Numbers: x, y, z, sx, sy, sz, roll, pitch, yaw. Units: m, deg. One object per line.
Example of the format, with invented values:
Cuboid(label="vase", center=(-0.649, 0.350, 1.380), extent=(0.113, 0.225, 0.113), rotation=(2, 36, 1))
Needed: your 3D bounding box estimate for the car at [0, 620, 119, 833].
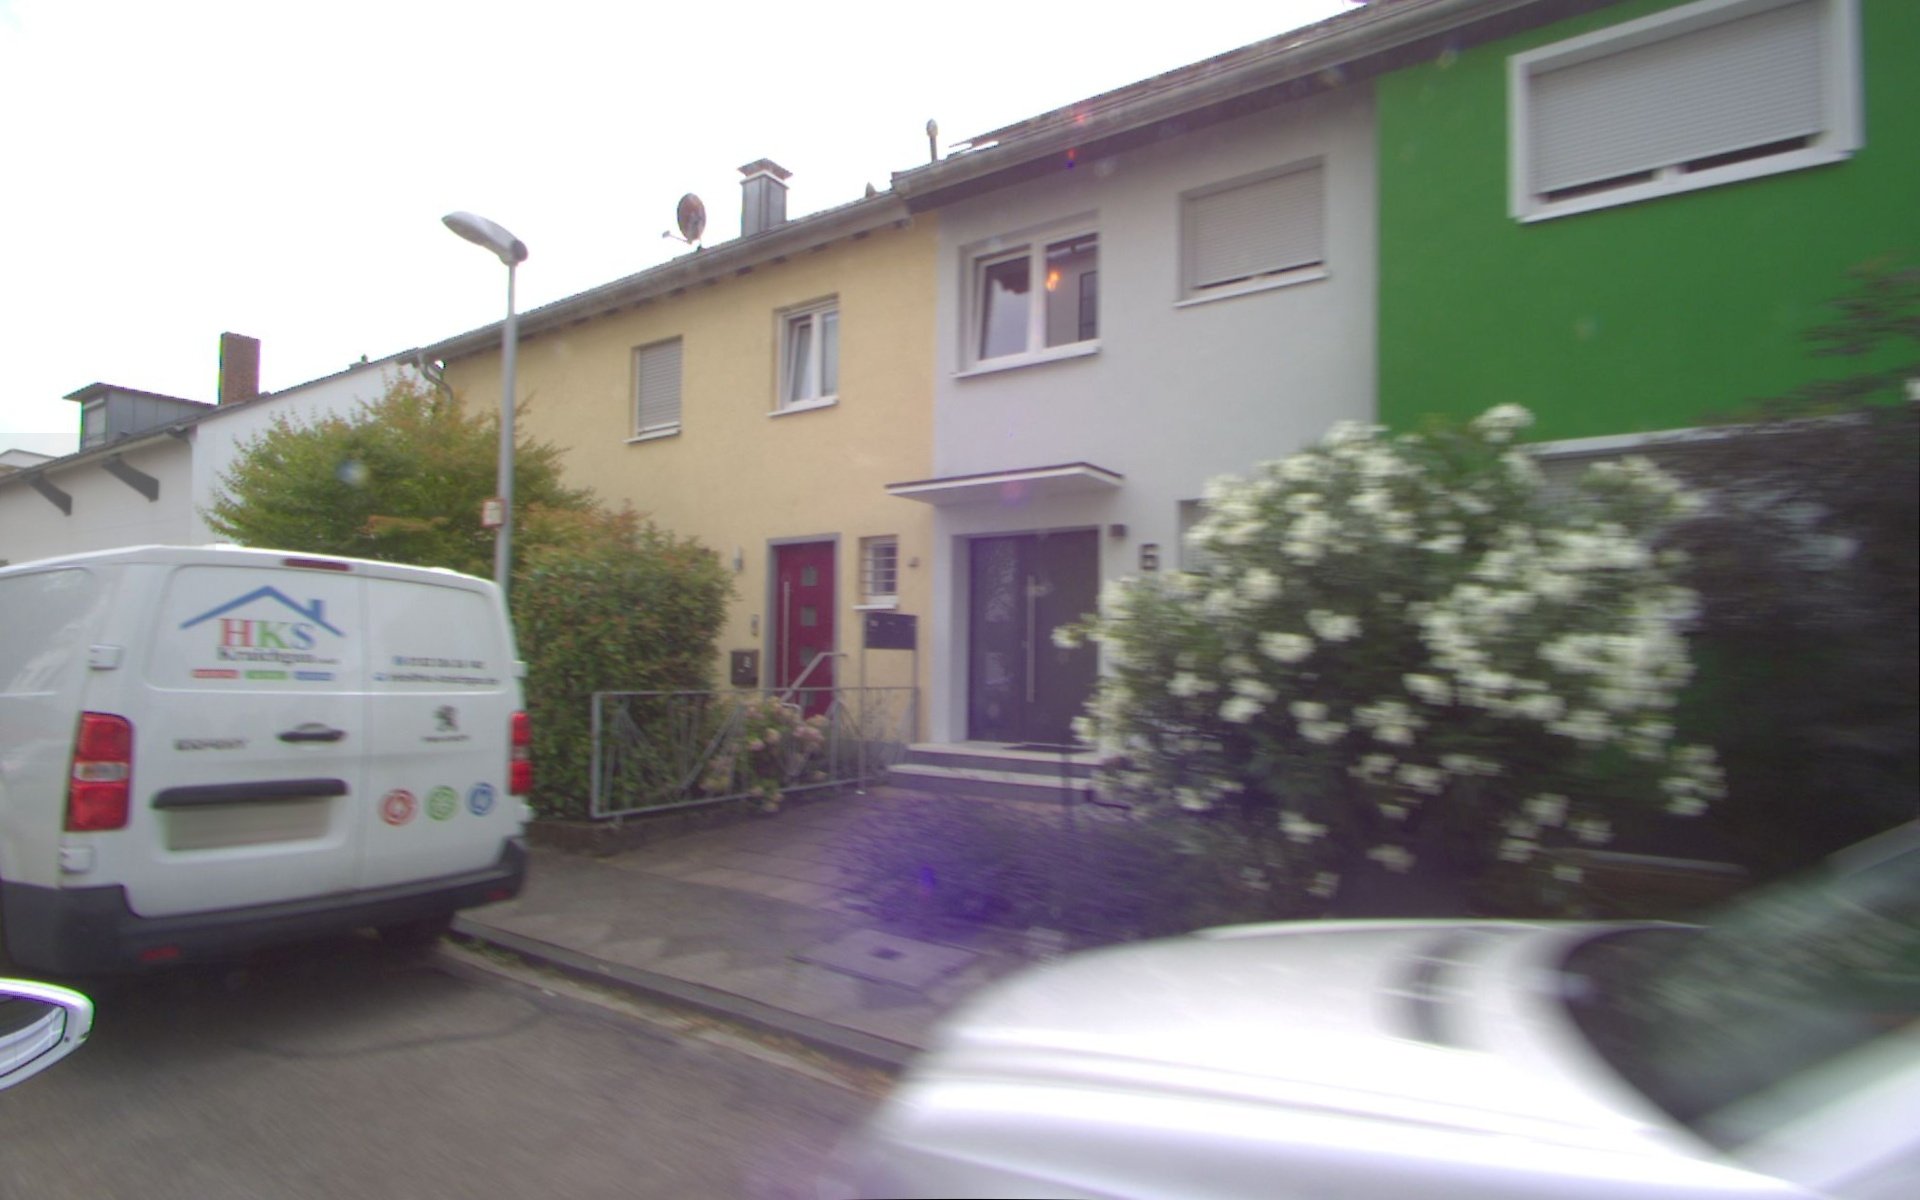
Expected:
Cuboid(label="car", center=(-9.342, 0.997, 8.710), extent=(4.101, 1.655, 1.824), rotation=(-1, -5, 31))

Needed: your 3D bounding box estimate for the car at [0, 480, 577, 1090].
Cuboid(label="car", center=(-4.580, 0.713, 5.529), extent=(5.181, 1.988, 1.901), rotation=(-1, -5, 34))

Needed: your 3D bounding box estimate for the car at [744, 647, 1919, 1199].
Cuboid(label="car", center=(1.932, 0.822, 1.109), extent=(4.397, 1.437, 1.780), rotation=(-1, -5, 36))
